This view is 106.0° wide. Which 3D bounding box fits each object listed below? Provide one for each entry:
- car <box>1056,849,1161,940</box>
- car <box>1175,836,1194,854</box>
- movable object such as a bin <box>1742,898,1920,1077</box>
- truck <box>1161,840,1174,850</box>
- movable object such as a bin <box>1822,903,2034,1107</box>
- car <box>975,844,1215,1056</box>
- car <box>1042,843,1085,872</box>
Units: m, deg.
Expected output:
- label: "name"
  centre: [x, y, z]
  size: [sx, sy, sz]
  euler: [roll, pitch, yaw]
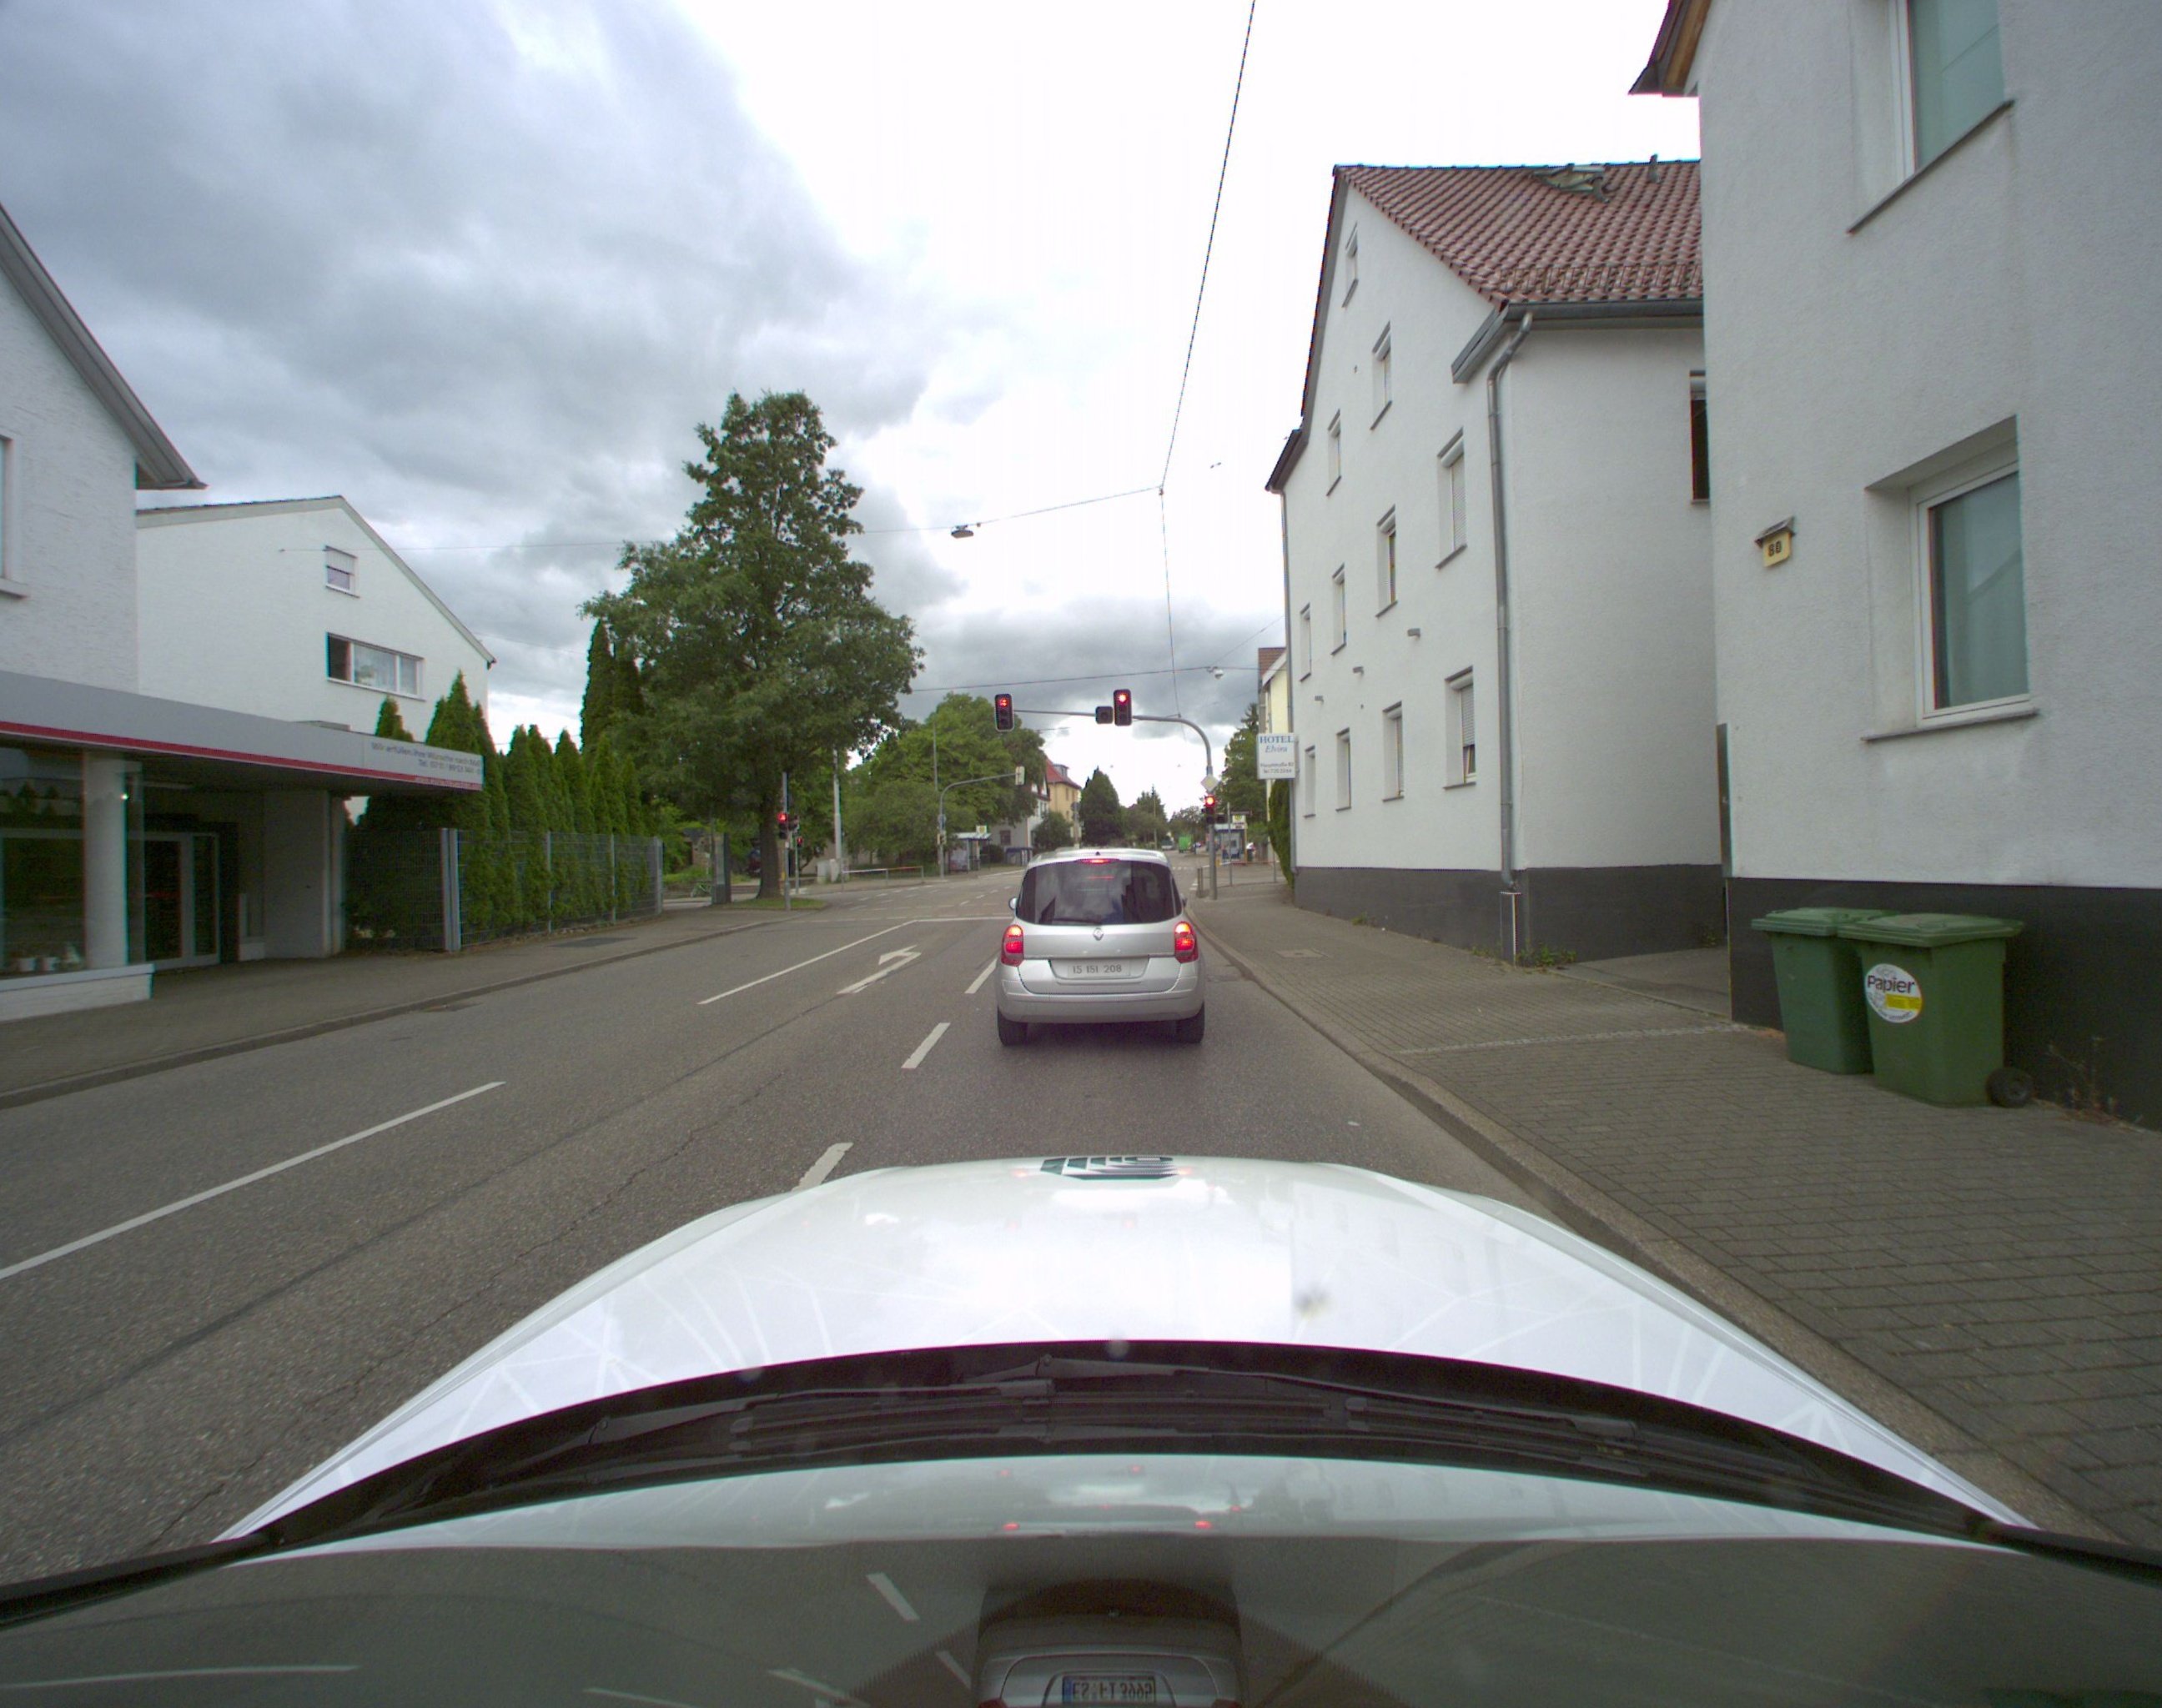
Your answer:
- label: "car"
  centre: [0.507, 0.689, 15.659]
  size: [1.748, 1.530, 3.798]
  euler: [-1, 0, 1]
- label: "car"
  centre: [15.204, -1.281, 119.474]
  size: [2.044, 2.512, 5.616]
  euler: [-1, 0, 14]
- label: "movable object such as a bin"
  centre: [4.380, 0.758, 4.786]
  size: [0.538, 0.941, 0.487]
  euler: [-4, 0, 2]
- label: "truck"
  centre: [17.922, -1.825, 168.279]
  size: [2.088, 2.013, 5.766]
  euler: [-1, 0, 11]
- label: "movable object such as a bin"
  centre: [4.388, 0.757, 4.249]
  size: [0.538, 0.941, 0.487]
  euler: [-4, 0, 2]
- label: "car"
  centre: [0.153, 0.710, 7.988]
  size: [1.748, 1.530, 4.001]
  euler: [-1, 0, 1]
- label: "car"
  centre: [-1.178, 0.231, 56.299]
  size: [1.913, 1.773, 4.013]
  euler: [-5, -1, 12]
